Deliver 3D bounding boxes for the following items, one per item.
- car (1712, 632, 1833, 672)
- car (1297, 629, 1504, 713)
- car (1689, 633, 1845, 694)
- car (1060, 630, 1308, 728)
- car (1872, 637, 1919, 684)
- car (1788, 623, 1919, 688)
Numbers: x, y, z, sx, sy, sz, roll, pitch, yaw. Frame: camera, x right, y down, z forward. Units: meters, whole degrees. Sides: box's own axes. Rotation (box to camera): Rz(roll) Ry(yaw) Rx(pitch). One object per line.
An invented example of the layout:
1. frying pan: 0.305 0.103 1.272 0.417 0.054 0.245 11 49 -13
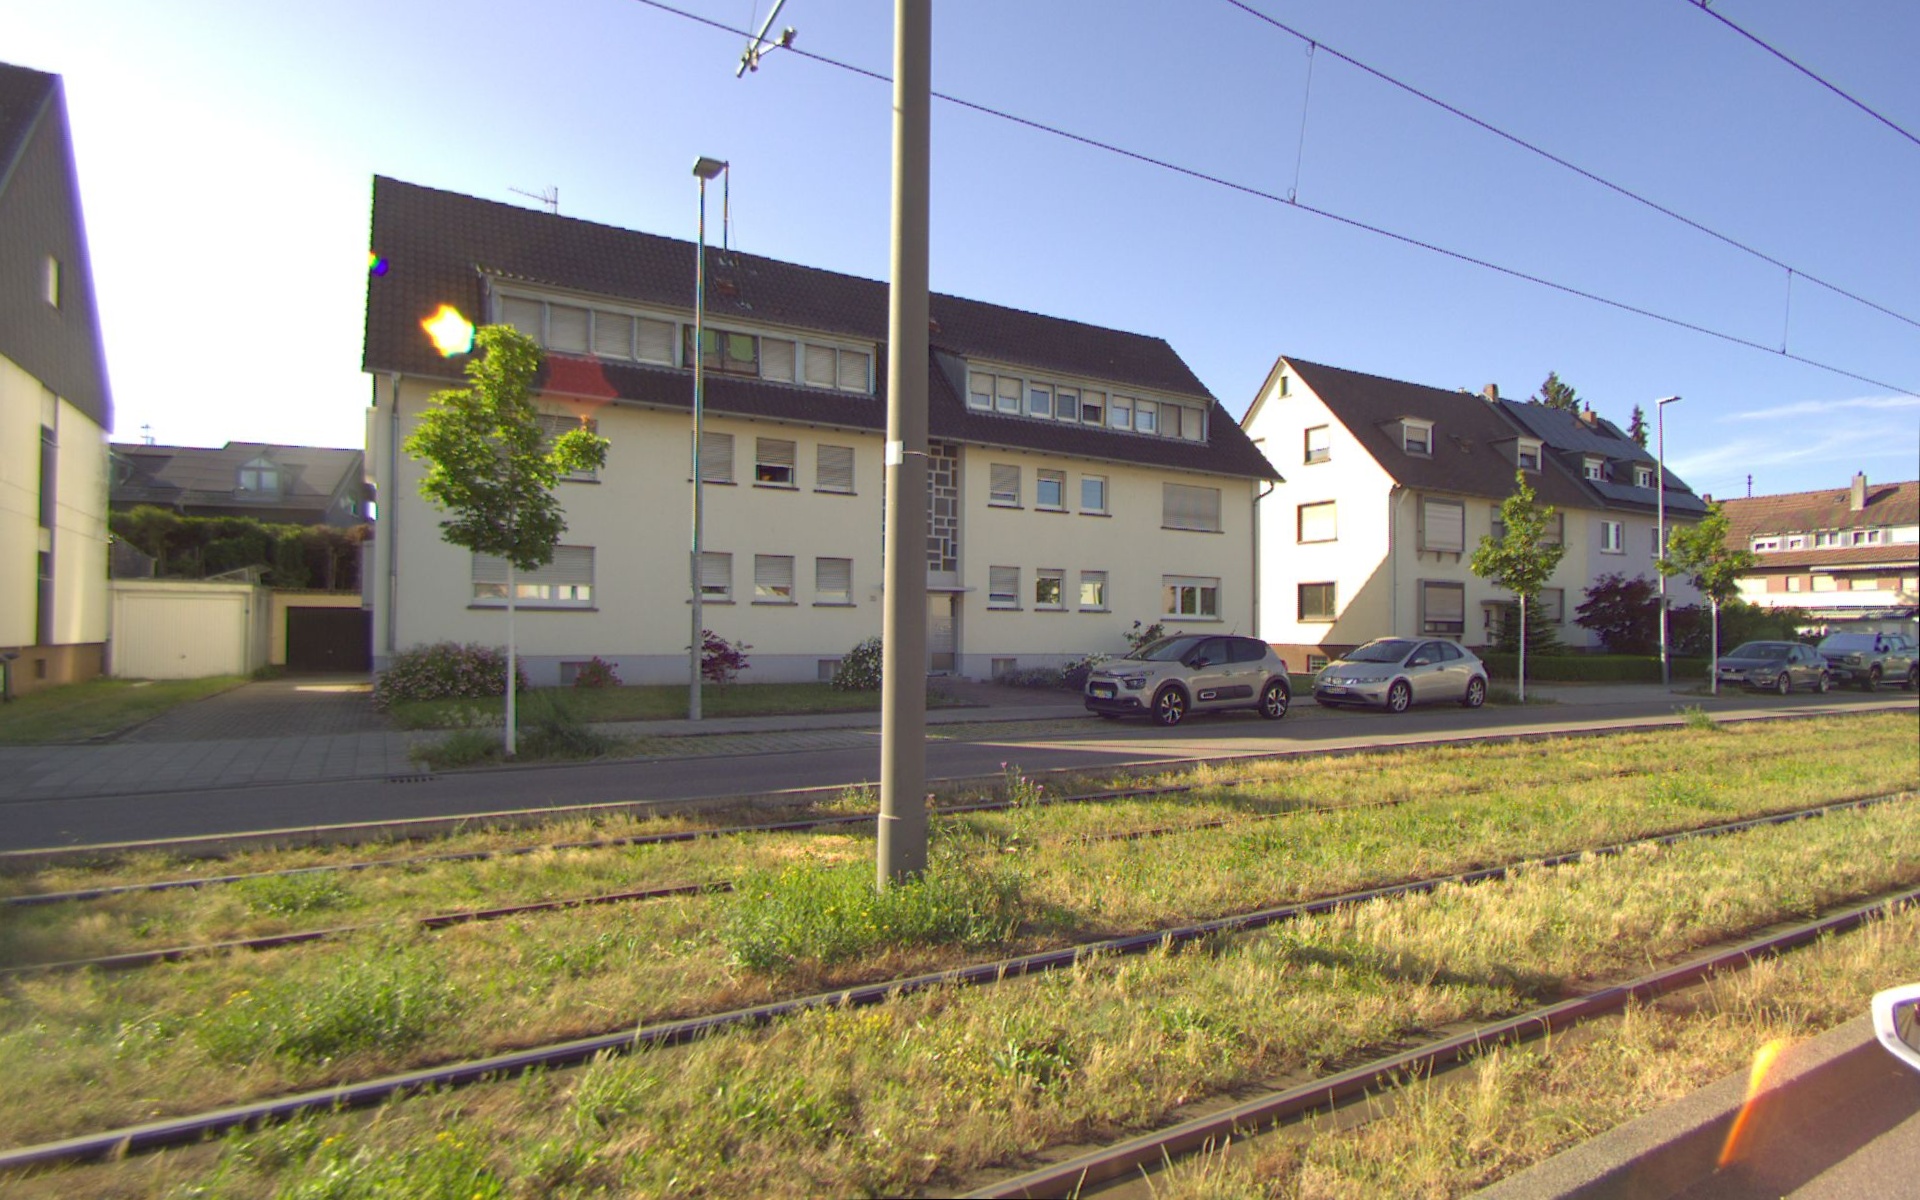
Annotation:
1. car: 34.070 2.166 42.195 1.674 1.480 3.609 2 0 -34
2. car: 9.087 1.415 20.631 4.393 1.495 1.679 2 0 -32
3. car: 23.022 1.776 28.612 4.503 1.561 1.951 2 0 -30
4. car: 3.981 1.325 17.620 4.266 1.492 1.679 2 0 -32
5. car: 33.035 2.065 34.371 4.005 1.510 1.667 2 0 -32
6. car: 28.129 1.718 31.472 4.783 1.847 1.737 2 0 -29
